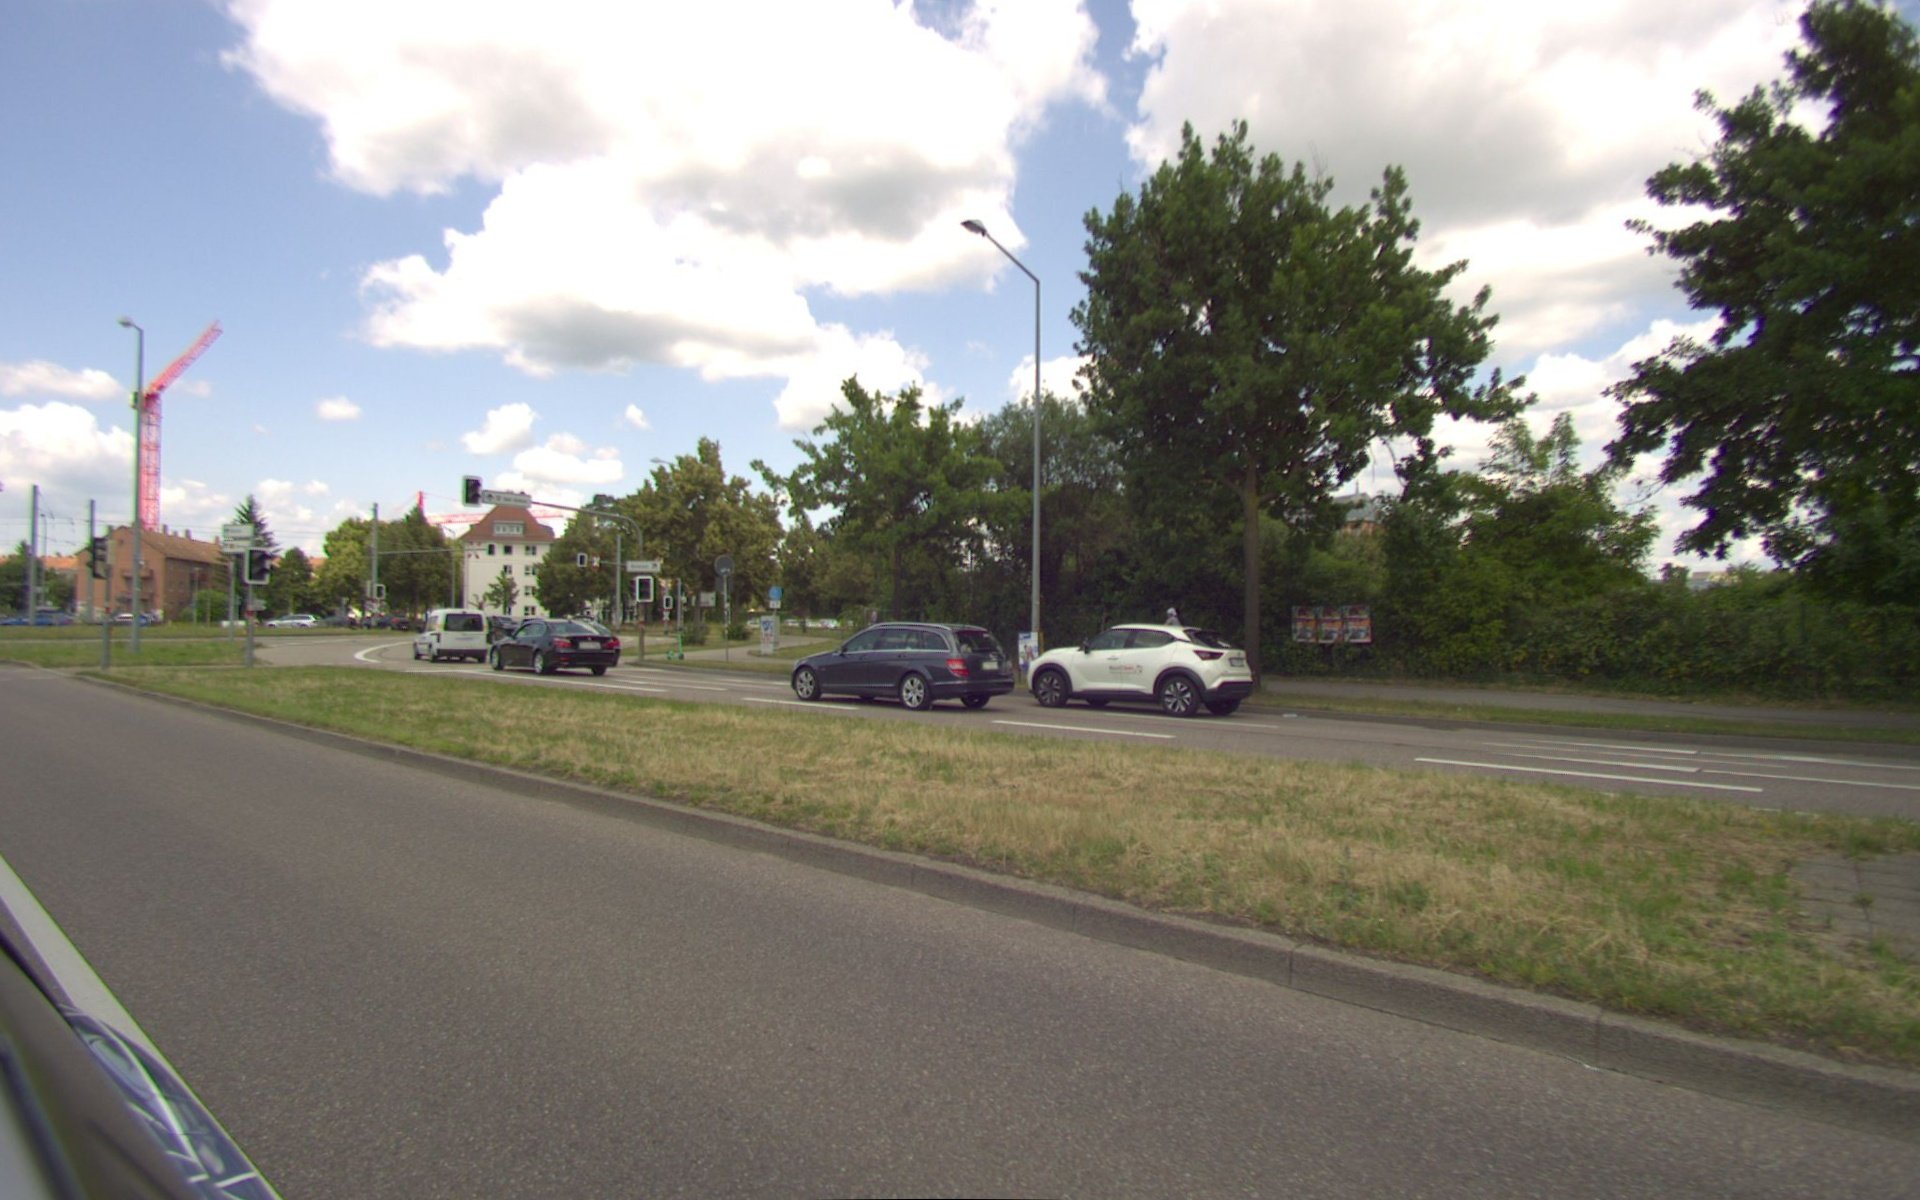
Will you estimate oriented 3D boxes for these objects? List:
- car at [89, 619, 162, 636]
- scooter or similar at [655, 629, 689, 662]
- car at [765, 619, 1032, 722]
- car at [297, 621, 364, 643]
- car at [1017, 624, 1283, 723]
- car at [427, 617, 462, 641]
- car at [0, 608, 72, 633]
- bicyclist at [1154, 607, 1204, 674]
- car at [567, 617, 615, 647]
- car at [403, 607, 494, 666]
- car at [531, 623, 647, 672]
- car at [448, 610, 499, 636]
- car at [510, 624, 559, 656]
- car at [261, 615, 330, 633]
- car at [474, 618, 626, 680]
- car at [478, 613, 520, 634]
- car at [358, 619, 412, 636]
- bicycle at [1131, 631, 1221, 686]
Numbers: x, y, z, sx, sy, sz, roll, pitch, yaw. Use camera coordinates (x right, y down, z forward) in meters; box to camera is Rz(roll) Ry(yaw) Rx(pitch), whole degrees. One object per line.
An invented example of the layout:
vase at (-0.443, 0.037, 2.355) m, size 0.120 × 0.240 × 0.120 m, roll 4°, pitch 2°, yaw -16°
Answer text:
car at (-68.060, 2.243, 82.587) m, size 4.416 × 1.333 × 1.959 m, roll 0°, pitch -1°, yaw -34°
scooter or similar at (-10.352, 1.624, 36.385) m, size 0.534 × 1.175 × 1.441 m, roll 1°, pitch -1°, yaw -45°
car at (-1.222, 1.156, 18.084) m, size 5.010 × 1.603 × 1.704 m, roll -1°, pitch -3°, yaw 41°
car at (-55.562, 2.827, 89.413) m, size 4.596 × 1.834 × 2.125 m, roll 0°, pitch -1°, yaw 0°
car at (3.329, 1.233, 18.205) m, size 4.366 × 1.552 × 1.890 m, roll -1°, pitch -3°, yaw 41°
car at (-35.832, 2.013, 70.398) m, size 1.881 × 1.604 × 4.607 m, roll 1°, pitch -1°, yaw -24°
car at (-70.230, 1.540, 76.496) m, size 4.332 × 1.812 × 1.762 m, roll 0°, pitch -1°, yaw -28°
bicyclist at (5.304, 0.966, 24.533) m, size 0.883 × 1.576 × 0.821 m, roll -1°, pitch 0°, yaw 40°
car at (-21.854, 1.879, 60.142) m, size 1.967 × 1.699 × 4.799 m, roll 0°, pitch -1°, yaw -11°
car at (-17.165, 1.191, 33.841) m, size 1.814 × 1.813 × 4.798 m, roll 3°, pitch -3°, yaw -37°
car at (-12.161, 1.514, 33.024) m, size 1.817 × 1.454 × 4.422 m, roll 4°, pitch -3°, yaw -45°
car at (-39.412, 1.830, 81.959) m, size 4.784 × 2.029 × 1.973 m, roll -1°, pitch -2°, yaw 40°
car at (-19.180, 1.804, 45.764) m, size 1.593 × 1.358 × 4.183 m, roll 2°, pitch -3°, yaw -17°
car at (-56.139, 2.014, 85.532) m, size 4.446 × 1.533 × 2.123 m, roll 0°, pitch -1°, yaw 2°
car at (-11.112, 1.284, 27.283) m, size 4.751 × 1.491 × 1.818 m, roll 0°, pitch -3°, yaw 41°
car at (-33.664, 1.700, 73.849) m, size 1.881 × 1.434 × 4.200 m, roll 1°, pitch -1°, yaw -38°
car at (-47.582, 2.287, 83.690) m, size 3.952 × 1.351 × 1.790 m, roll 0°, pitch -3°, yaw 22°
bicycle at (5.242, 1.385, 24.602) m, size 2.015 × 1.228 × 0.753 m, roll -1°, pitch 1°, yaw 41°
